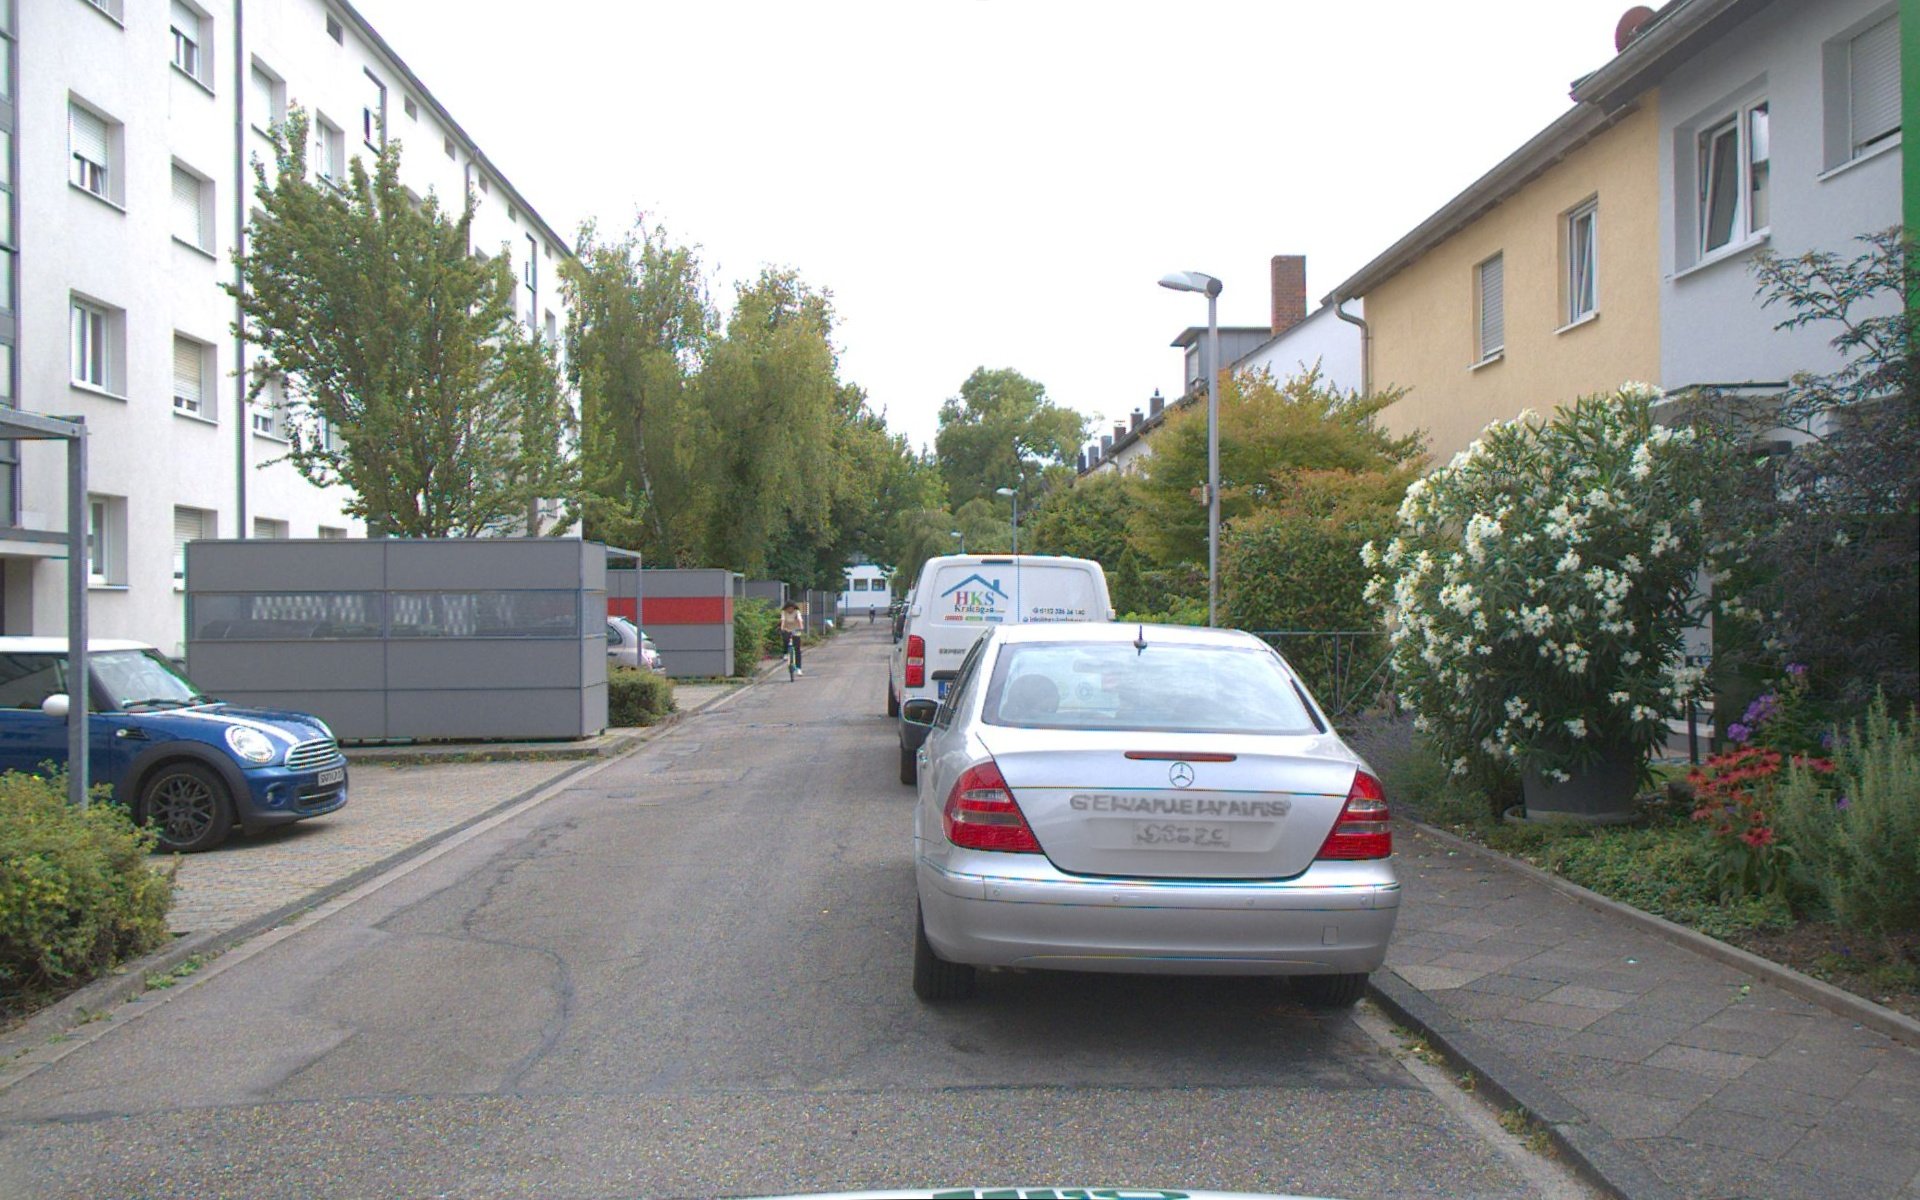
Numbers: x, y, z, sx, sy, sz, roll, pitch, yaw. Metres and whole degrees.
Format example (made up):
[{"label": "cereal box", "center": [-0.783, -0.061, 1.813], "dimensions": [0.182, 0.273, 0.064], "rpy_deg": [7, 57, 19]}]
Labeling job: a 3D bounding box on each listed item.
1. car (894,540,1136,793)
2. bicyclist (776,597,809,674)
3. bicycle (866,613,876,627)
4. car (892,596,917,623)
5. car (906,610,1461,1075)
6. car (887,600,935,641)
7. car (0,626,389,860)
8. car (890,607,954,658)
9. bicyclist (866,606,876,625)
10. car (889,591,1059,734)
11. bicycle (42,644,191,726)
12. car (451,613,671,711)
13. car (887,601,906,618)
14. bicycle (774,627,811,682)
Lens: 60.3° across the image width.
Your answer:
[{"label": "car", "center": [0.340, 0.542, 15.810], "dimensions": [1.866, 1.999, 5.250], "rpy_deg": [1, 0, -3]}, {"label": "bicyclist", "center": [-3.593, 0.762, 35.535], "dimensions": [0.585, 1.608, 0.767], "rpy_deg": [-2, 0, -1]}, {"label": "bicycle", "center": [-7.266, 1.603, 134.761], "dimensions": [0.675, 1.151, 2.579], "rpy_deg": [1, 0, 0]}, {"label": "car", "center": [-4.162, 0.695, 124.341], "dimensions": [1.788, 1.916, 3.998], "rpy_deg": [1, 0, -2]}, {"label": "car", "center": [0.681, 0.782, 7.455], "dimensions": [1.747, 1.445, 4.454], "rpy_deg": [1, 0, -1]}, {"label": "car", "center": [-2.040, 0.822, 67.728], "dimensions": [1.789, 1.609, 3.997], "rpy_deg": [1, 0, -4]}, {"label": "car", "center": [-6.203, 0.996, 11.900], "dimensions": [3.560, 1.487, 1.653], "rpy_deg": [-2, 0, 1]}, {"label": "car", "center": [-1.148, 0.925, 49.042], "dimensions": [1.788, 1.394, 4.329], "rpy_deg": [1, 0, -2]}, {"label": "bicyclist", "center": [-7.244, 1.263, 134.762], "dimensions": [0.782, 1.537, 0.934], "rpy_deg": [1, -1, 0]}, {"label": "car", "center": [0.080, 0.741, 21.479], "dimensions": [1.789, 1.664, 4.157], "rpy_deg": [1, 0, -5]}, {"label": "bicycle", "center": [-11.753, 1.167, 23.082], "dimensions": [1.796, 1.042, 0.471], "rpy_deg": [-1, 0, -44]}, {"label": "car", "center": [-6.867, 1.041, 28.759], "dimensions": [3.494, 1.506, 1.708], "rpy_deg": [-2, 0, -7]}, {"label": "car", "center": [-6.308, 0.948, 165.170], "dimensions": [1.788, 1.609, 3.998], "rpy_deg": [1, 0, -2]}, {"label": "bicycle", "center": [-3.581, 1.154, 35.492], "dimensions": [0.585, 1.095, 2.042], "rpy_deg": [-2, 0, -1]}]
